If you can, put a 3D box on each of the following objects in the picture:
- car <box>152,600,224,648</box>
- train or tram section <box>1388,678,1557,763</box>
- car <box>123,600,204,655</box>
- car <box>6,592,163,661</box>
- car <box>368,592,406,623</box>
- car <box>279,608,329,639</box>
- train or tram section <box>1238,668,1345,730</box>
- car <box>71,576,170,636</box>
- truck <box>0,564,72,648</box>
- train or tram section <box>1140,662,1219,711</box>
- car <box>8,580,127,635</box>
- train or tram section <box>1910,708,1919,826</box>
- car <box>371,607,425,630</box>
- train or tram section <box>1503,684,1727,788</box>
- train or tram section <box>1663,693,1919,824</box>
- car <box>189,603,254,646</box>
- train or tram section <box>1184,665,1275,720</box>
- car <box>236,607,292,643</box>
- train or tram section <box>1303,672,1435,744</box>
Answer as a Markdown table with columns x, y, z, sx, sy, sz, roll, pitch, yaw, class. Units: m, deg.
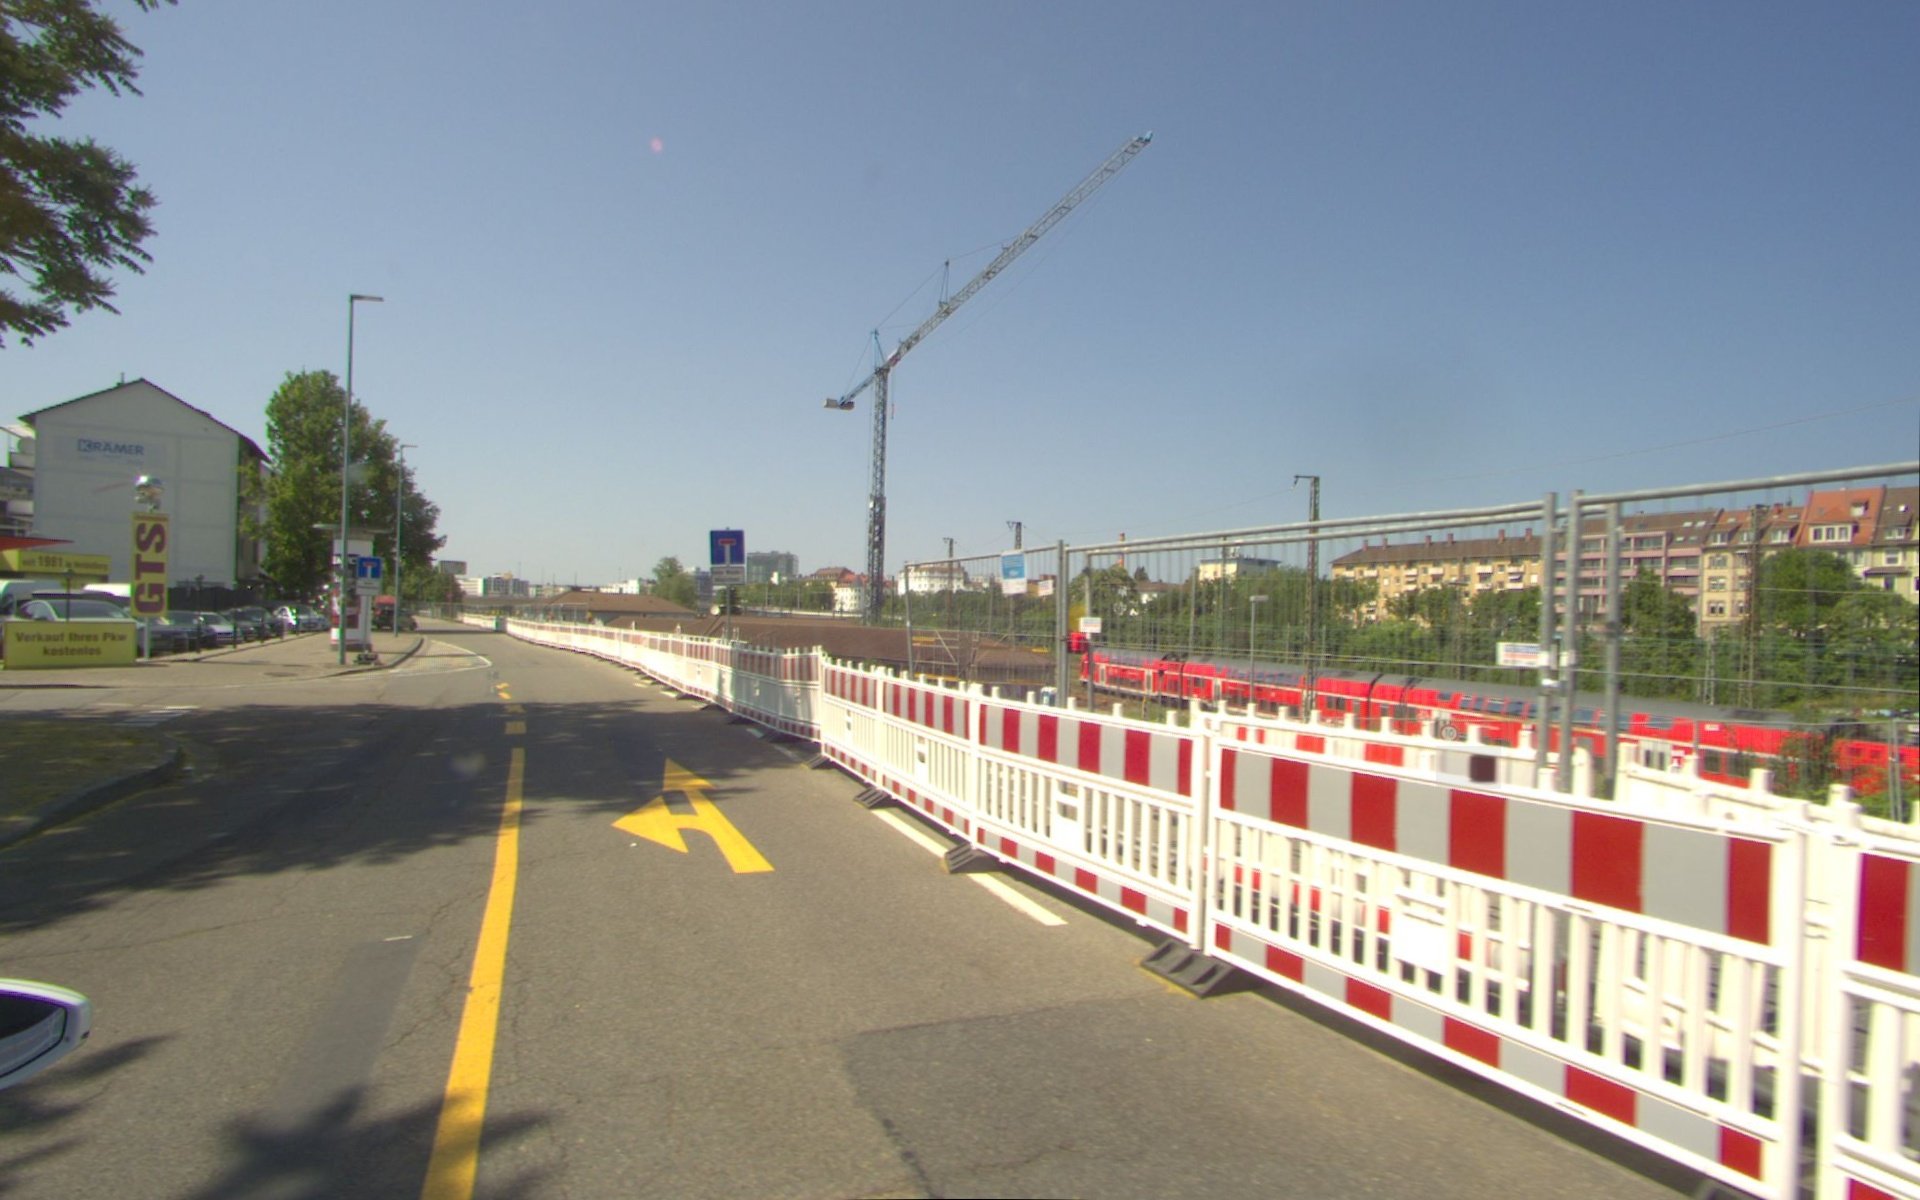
| x | y | z | sx | sy | sz | roll | pitch | yaw | class |
| --- | --- | --- | --- | --- | --- | --- | --- | --- | --- |
| -28.574 | 0.868 | 37.037 | 1.843 | 1.650 | 3.964 | 3 | -2 | -41 | car |
| 27.470 | 6.343 | 54.343 | 2.970 | 3.748 | 8.967 | 4 | -3 | -13 | train or tram section |
| -25.648 | 0.862 | 32.198 | 1.843 | 1.650 | 3.964 | 3 | -2 | -41 | car |
| -24.110 | 0.737 | 27.564 | 3.939 | 1.747 | 1.993 | 1 | -3 | 29 | car |
| -51.158 | 0.719 | 89.483 | 2.508 | 2.551 | 5.098 | 3 | -3 | -26 | car |
| -37.597 | 1.308 | 57.374 | 1.843 | 1.650 | 3.964 | 3 | -2 | -41 | car |
| 23.536 | 6.983 | 71.733 | 2.970 | 3.748 | 8.967 | 4 | -3 | -13 | train or tram section |
| -34.683 | 0.281 | 41.537 | 2.111 | 2.313 | 4.689 | 3 | -2 | -28 | car |
| -35.699 | 0.213 | 37.161 | 2.241 | 2.940 | 5.923 | 3 | -2 | -24 | truck |
| 19.360 | 7.583 | 89.151 | 2.971 | 3.748 | 8.964 | 4 | -3 | -14 | train or tram section |
| -32.054 | 0.294 | 36.122 | 1.855 | 1.760 | 4.704 | 4 | -2 | -25 | car |
| 32.992 | 5.282 | 28.136 | 2.969 | 3.757 | 8.968 | 4 | -3 | -12 | train or tram section |
| -43.595 | 1.448 | 77.741 | 1.697 | 1.658 | 3.275 | 1 | -3 | 22 | car |
| 29.357 | 5.967 | 45.593 | 2.969 | 3.748 | 8.968 | 4 | -3 | -12 | train or tram section |
| 31.175 | 5.606 | 36.847 | 2.969 | 3.748 | 8.968 | 4 | -3 | -12 | train or tram section |
| -31.038 | 1.012 | 42.042 | 1.843 | 1.650 | 3.964 | 3 | -2 | -41 | car |
| 21.495 | 7.304 | 80.477 | 2.970 | 3.748 | 8.966 | 4 | -3 | -13 | train or tram section |
| -34.673 | 1.241 | 49.828 | 1.843 | 1.650 | 3.964 | 3 | -2 | -41 | car |
| 25.499 | 6.658 | 63.035 | 2.970 | 3.748 | 8.967 | 4 | -3 | -13 | train or tram section |
